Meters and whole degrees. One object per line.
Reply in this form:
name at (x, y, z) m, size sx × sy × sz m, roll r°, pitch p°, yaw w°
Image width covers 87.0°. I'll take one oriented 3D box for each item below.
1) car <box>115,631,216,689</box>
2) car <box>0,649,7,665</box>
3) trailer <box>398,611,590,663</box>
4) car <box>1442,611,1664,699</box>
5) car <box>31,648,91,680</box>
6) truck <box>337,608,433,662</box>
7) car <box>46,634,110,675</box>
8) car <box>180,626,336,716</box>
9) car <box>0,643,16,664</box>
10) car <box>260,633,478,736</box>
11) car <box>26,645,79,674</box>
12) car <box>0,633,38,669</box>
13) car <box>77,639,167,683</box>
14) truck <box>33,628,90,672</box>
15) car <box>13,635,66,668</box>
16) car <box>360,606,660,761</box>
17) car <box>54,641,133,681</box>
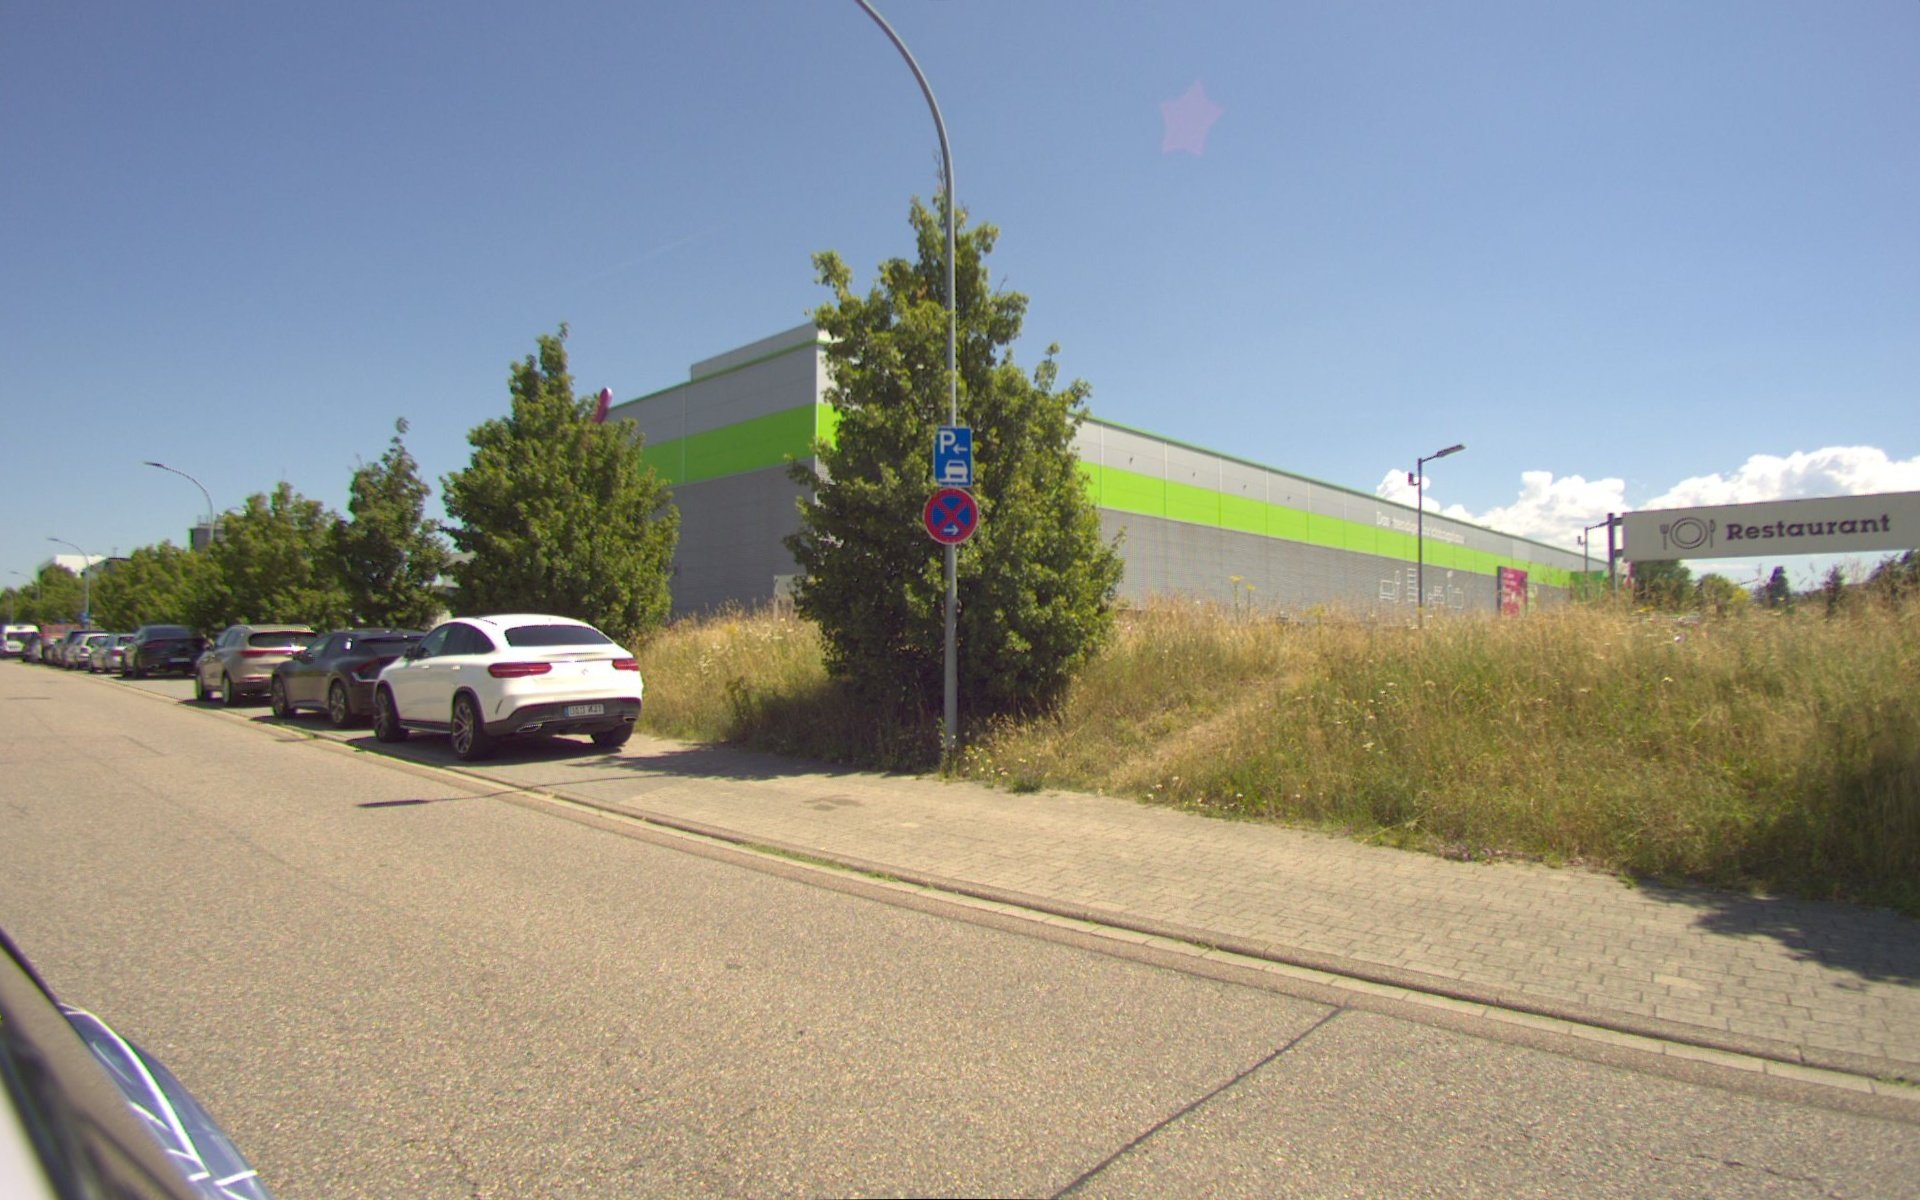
car at (-26.222, 1.949, 33.340) m, size 5.008 × 1.726 × 1.969 m, roll -3°, pitch -3°, yaw 44°
car at (-92.225, 5.489, 96.481) m, size 4.452 × 1.497 × 1.774 m, roll -3°, pitch -3°, yaw 43°
trailer at (-40.493, 3.383, 88.845) m, size 3.220 × 4.119 × 15.146 m, roll -3°, pitch -5°, yaw 44°
car at (13.308, 1.223, 22.827) m, size 3.998 × 1.790 × 1.972 m, roll -3°, pitch -3°, yaw 42°
car at (-44.456, 3.118, 50.026) m, size 4.754 × 1.454 × 1.831 m, roll -3°, pitch -3°, yaw 44°
truck at (-46.799, 2.921, 82.428) m, size 3.220 × 4.119 × 6.036 m, roll -3°, pitch -5°, yaw 45°
car at (-40.414, 2.482, 46.332) m, size 4.988 × 1.772 × 1.830 m, roll -3°, pitch -3°, yaw 45°
car at (-15.140, 1.463, 21.742) m, size 4.413 × 1.726 × 1.891 m, roll -3°, pitch -3°, yaw 44°
car at (-83.166, 4.657, 87.750) m, size 4.084 × 1.824 × 1.810 m, roll -3°, pitch -3°, yaw 45°
car at (-10.108, 1.351, 17.168) m, size 4.410 × 1.503 × 1.893 m, roll -3°, pitch -3°, yaw 41°
car at (-51.392, 3.351, 57.294) m, size 3.766 × 1.563 × 1.832 m, roll -3°, pitch -3°, yaw 42°
car at (-71.133, 3.825, 76.173) m, size 6.088 × 2.618 × 2.296 m, roll -3°, pitch -3°, yaw 45°
car at (-31.598, 2.273, 38.109) m, size 5.164 × 1.530 × 1.832 m, roll -3°, pitch -3°, yaw 41°
truck at (-48.100, 2.644, 54.154) m, size 4.646 × 2.240 × 1.831 m, roll -3°, pitch -3°, yaw 43°
car at (-55.984, 3.111, 61.503) m, size 5.403 × 1.915 × 1.952 m, roll -2°, pitch -4°, yaw 44°
car at (-6.038, 1.047, 13.272) m, size 4.755 × 1.668 × 1.891 m, roll -3°, pitch -5°, yaw 43°
car at (-36.129, 2.515, 42.145) m, size 4.902 × 1.530 × 1.832 m, roll -3°, pitch -3°, yaw 41°
